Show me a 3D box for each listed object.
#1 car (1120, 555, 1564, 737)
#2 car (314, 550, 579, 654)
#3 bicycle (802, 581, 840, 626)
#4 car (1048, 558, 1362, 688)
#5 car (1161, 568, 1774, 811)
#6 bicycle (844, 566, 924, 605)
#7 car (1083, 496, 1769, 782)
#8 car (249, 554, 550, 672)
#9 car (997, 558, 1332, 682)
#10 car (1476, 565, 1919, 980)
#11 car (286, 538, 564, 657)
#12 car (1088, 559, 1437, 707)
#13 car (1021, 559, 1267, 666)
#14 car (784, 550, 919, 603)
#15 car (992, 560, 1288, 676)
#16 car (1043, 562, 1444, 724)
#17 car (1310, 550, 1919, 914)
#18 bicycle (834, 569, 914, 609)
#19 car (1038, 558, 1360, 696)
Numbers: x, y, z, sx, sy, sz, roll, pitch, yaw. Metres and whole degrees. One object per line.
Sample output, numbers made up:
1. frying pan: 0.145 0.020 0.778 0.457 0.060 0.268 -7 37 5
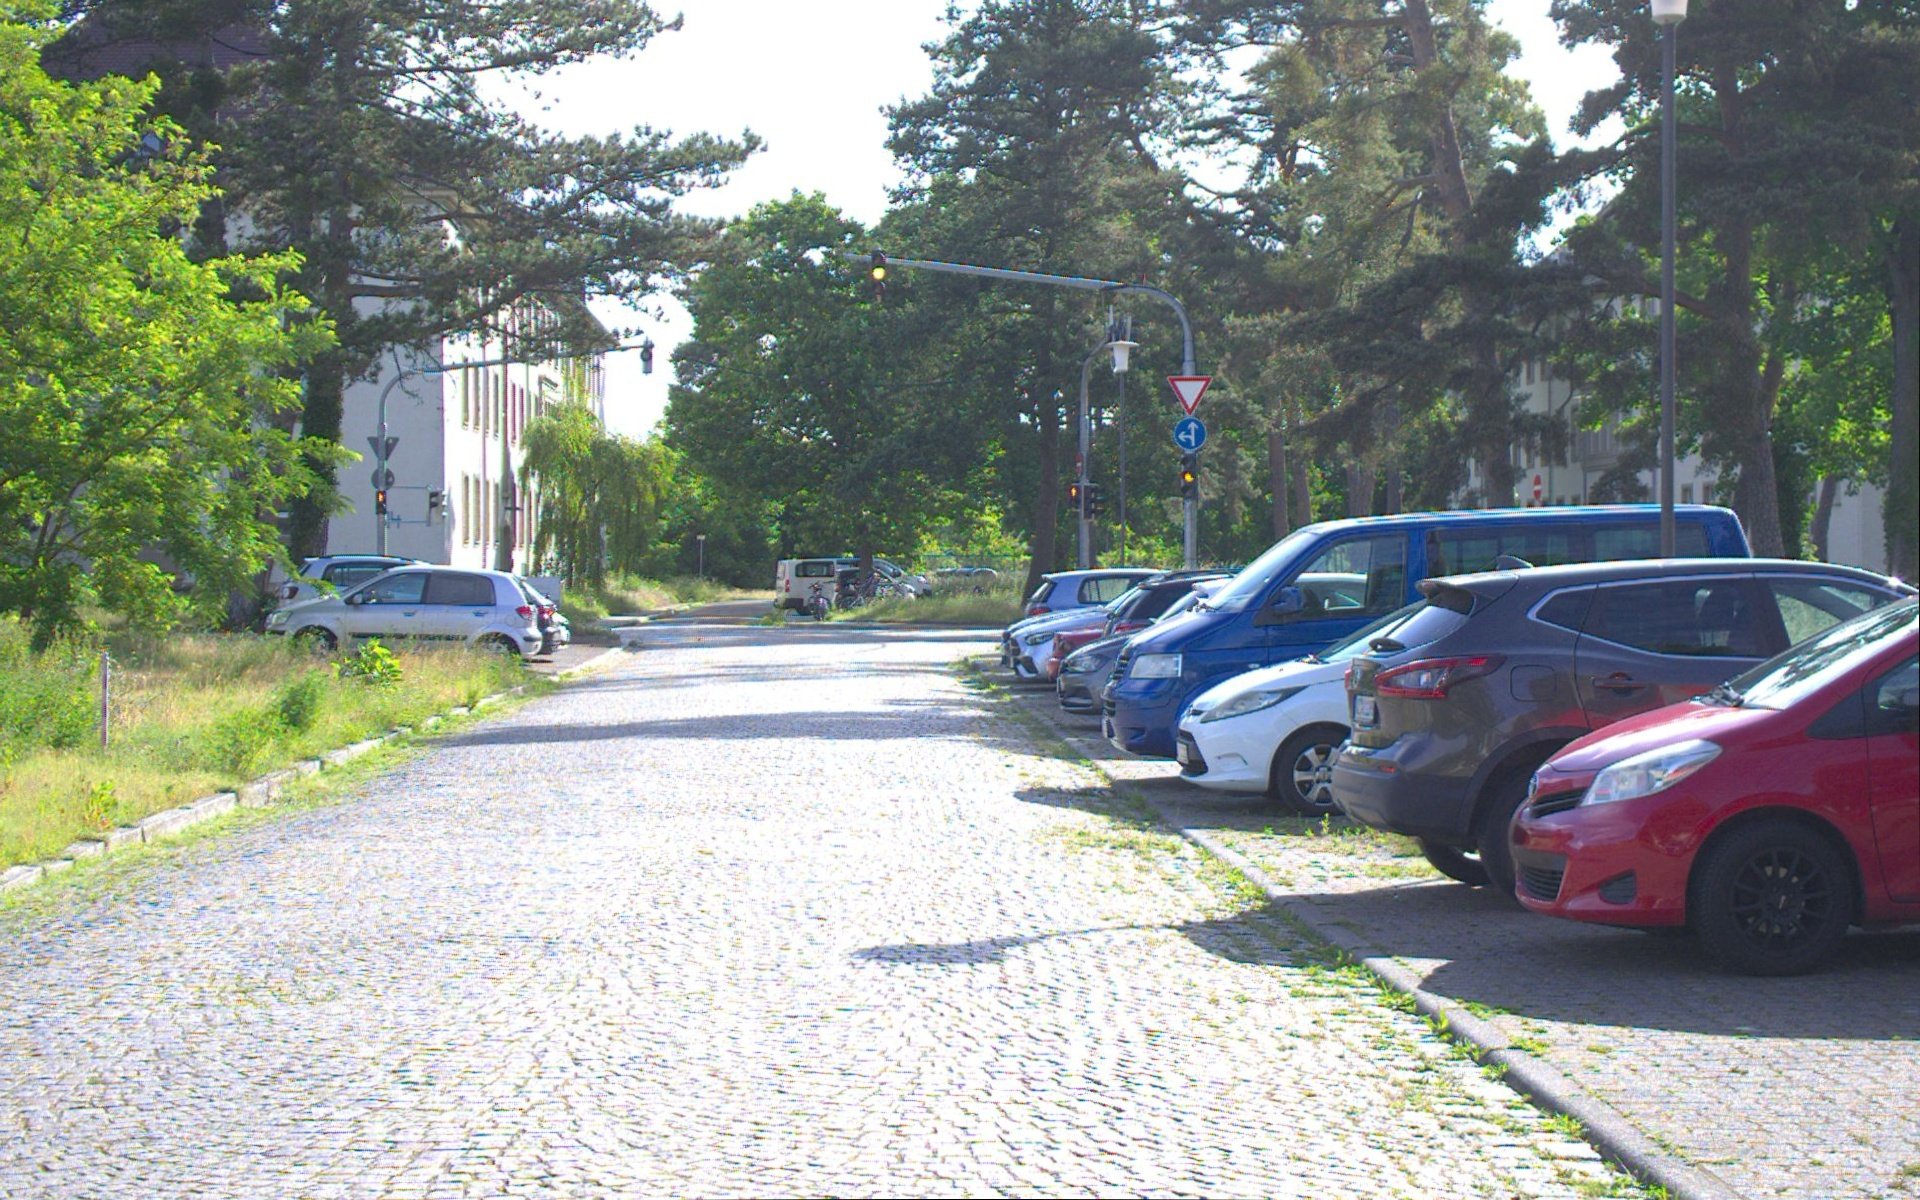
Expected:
1. car: 3.347 0.387 30.577 3.694 1.461 1.645 -2 1 -1
2. car: -8.280 0.021 55.705 3.986 1.448 2.000 3 1 -2
3. bicycle: -3.821 0.090 94.381 0.804 1.165 2.181 -2 1 -8
4. car: 2.927 0.261 41.529 3.602 1.524 1.646 0 1 -3
5. car: 3.293 0.557 22.716 3.718 1.483 1.646 -1 1 -4
6. bicycle: -2.196 -0.425 99.060 2.172 1.096 0.807 0 1 -12
7. car: 3.355 0.254 25.395 4.676 2.007 2.084 0 1 -5
8. car: -7.762 0.163 47.927 3.986 1.595 2.000 0 1 -5
9. car: 2.558 0.234 43.597 4.033 1.524 1.646 0 1 -5
10. car: 4.078 0.627 13.640 3.762 1.525 1.646 0 1 -3
11. car: -8.256 -0.049 53.303 3.986 1.596 2.000 3 1 -2
12. car: 3.169 0.329 36.381 3.477 1.524 1.646 0 1 -3
13. car: 2.596 0.164 49.013 3.343 1.477 1.646 0 1 -3
14. car: -3.645 -0.786 115.323 4.480 1.722 2.000 1 1 -2
15. car: 2.397 0.221 46.366 3.835 1.524 1.646 0 1 -3
16. car: 2.716 0.398 33.447 3.674 1.462 1.646 -1 1 -3
17. car: 3.752 0.573 16.307 3.935 1.616 1.772 0 1 -3
18. bicycle: -2.454 -0.317 97.881 2.172 1.096 0.807 0 1 -12
19. car: 2.681 0.292 39.059 3.477 1.524 1.646 0 1 -3
